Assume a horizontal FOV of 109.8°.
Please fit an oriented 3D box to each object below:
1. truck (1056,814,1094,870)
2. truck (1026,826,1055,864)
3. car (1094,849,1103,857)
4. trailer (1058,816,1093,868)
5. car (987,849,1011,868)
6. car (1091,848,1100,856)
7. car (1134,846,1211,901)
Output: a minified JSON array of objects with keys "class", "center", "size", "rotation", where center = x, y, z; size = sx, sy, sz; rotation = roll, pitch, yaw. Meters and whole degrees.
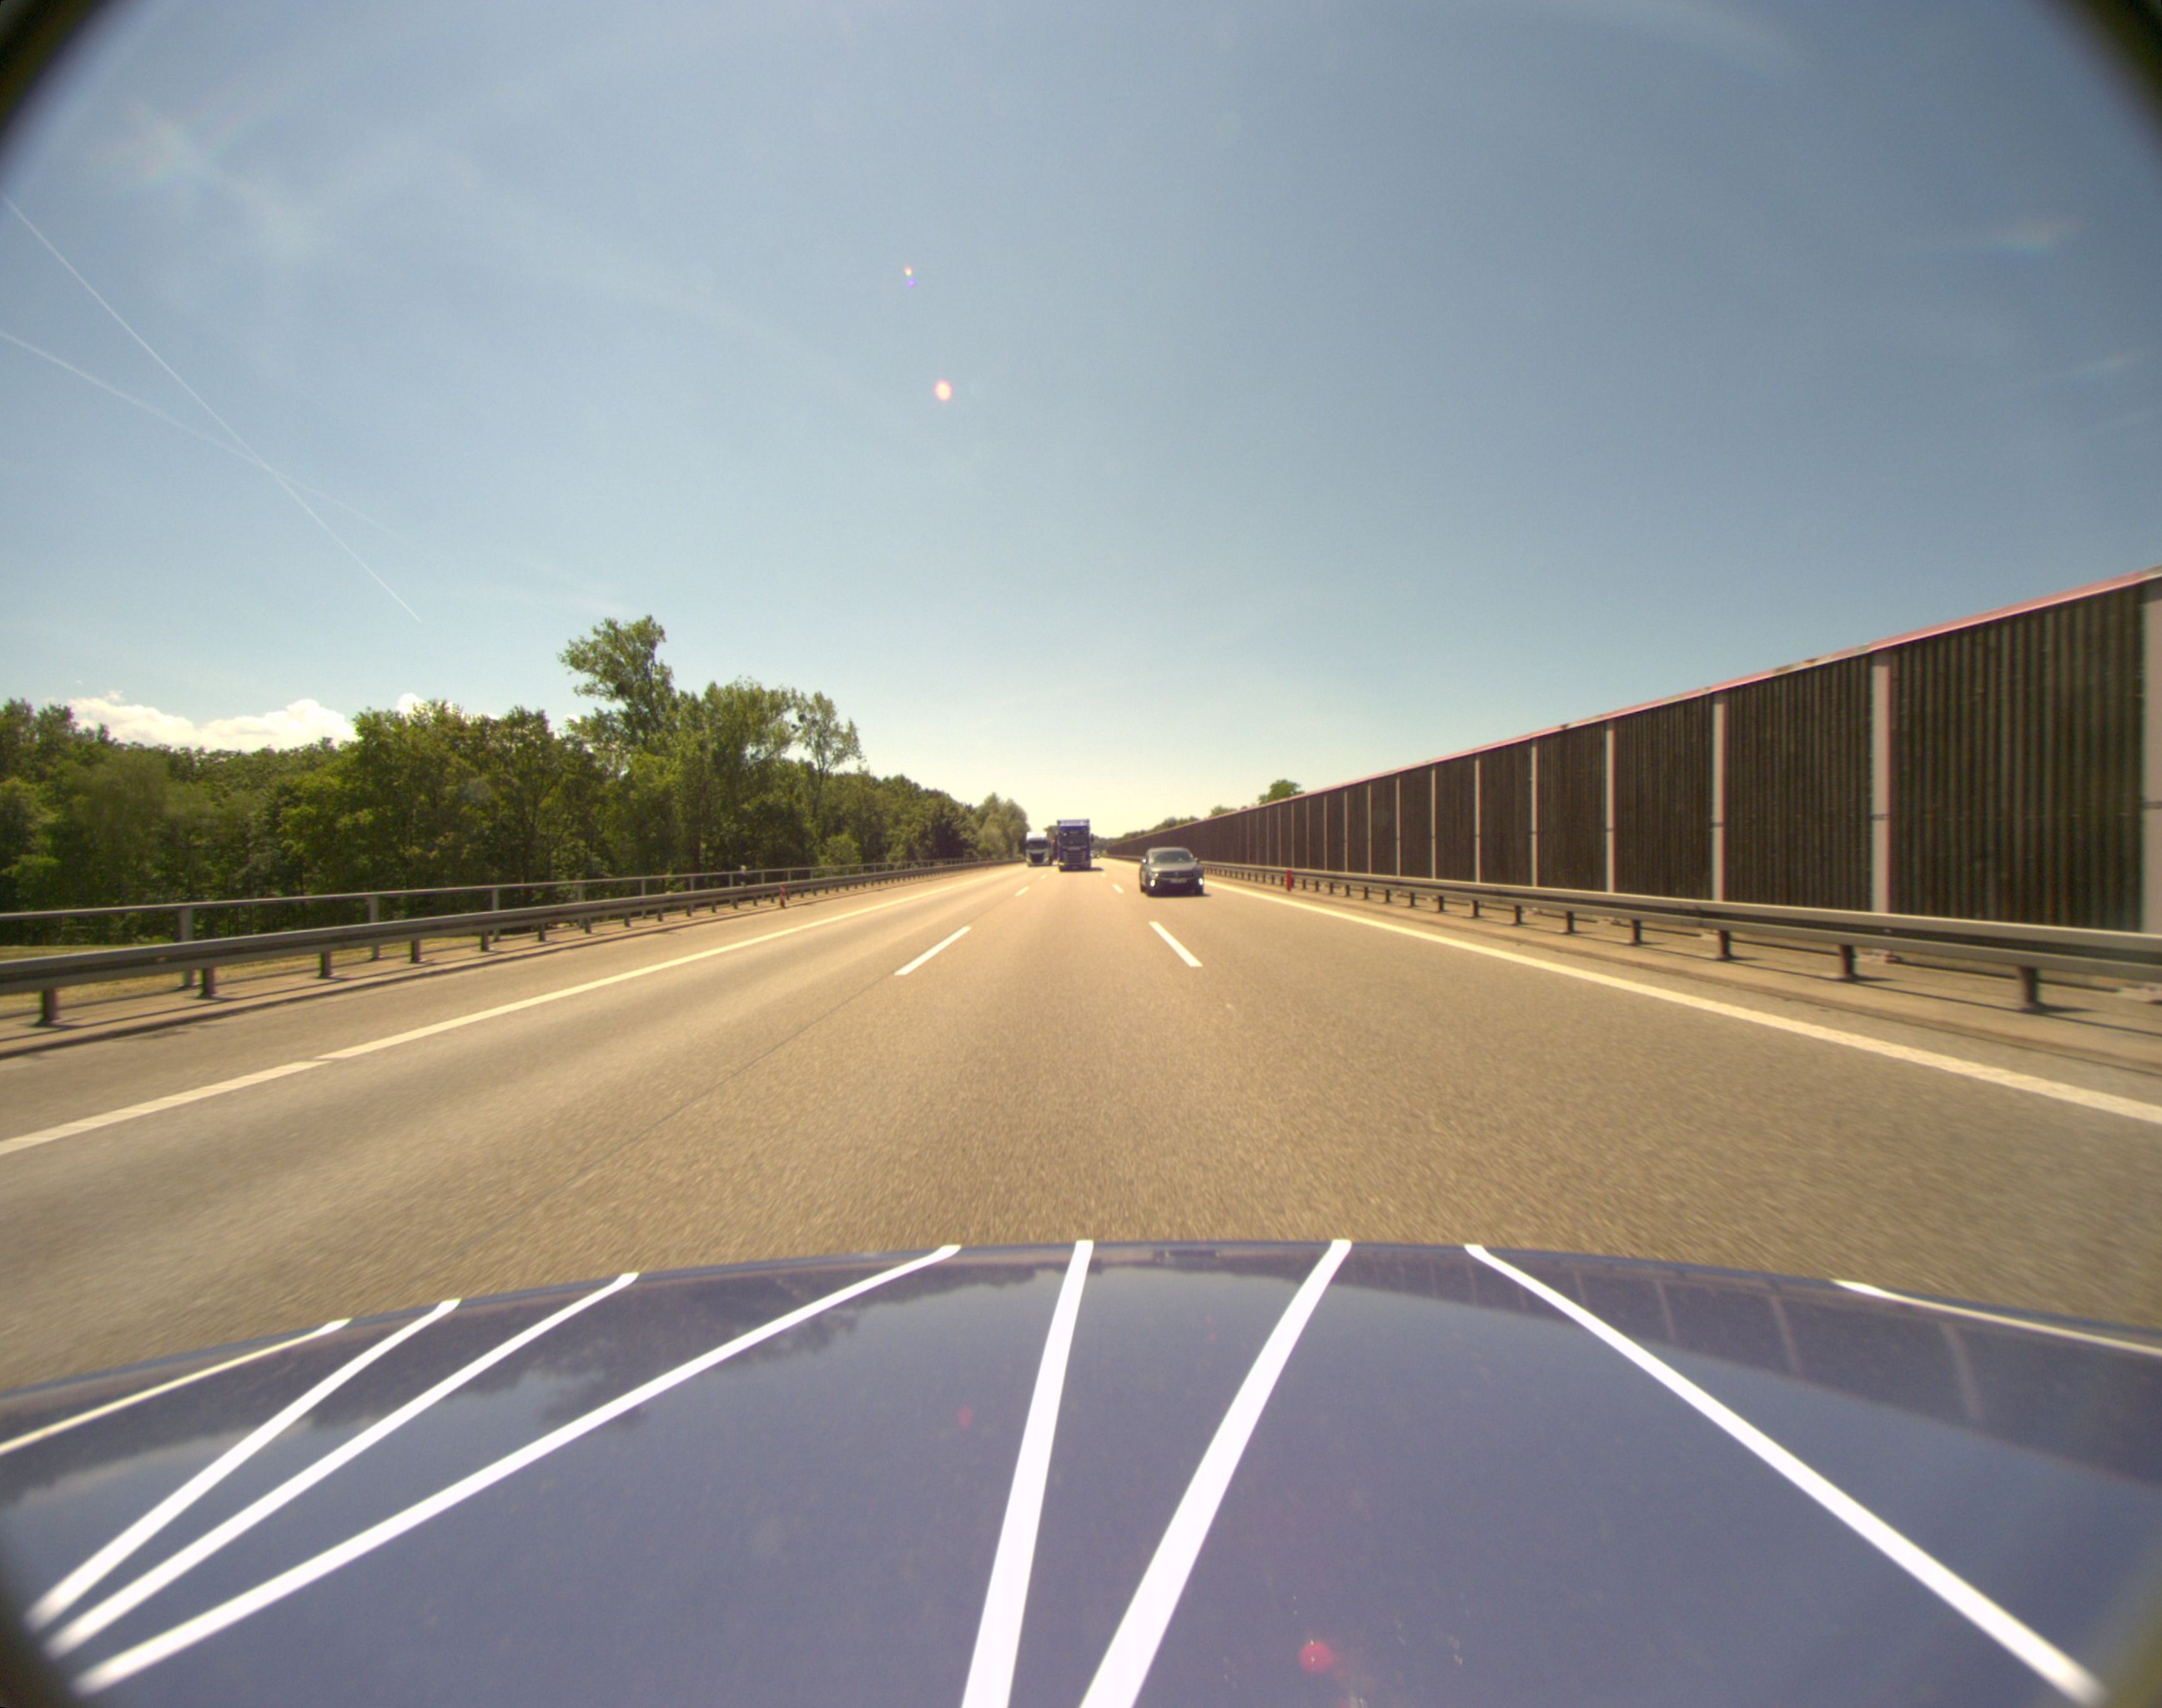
[{"class":"truck","center":[-0.440,-0.916,59.998],"size":[2.707,4.094,6.990],"rotation":[-2,0,0]},{"class":"truck","center":[-4.704,-1.048,90.727],"size":[2.820,4.139,10.447],"rotation":[-2,0,0]},{"class":"car","center":[3.954,-0.234,174.436],"size":[2.045,1.559,4.000],"rotation":[-2,0,0]},{"class":"trailer","center":[-0.447,-0.940,67.204],"size":[2.707,4.094,12.130],"rotation":[-2,0,0]},{"class":"car","center":[-8.238,0.448,76.684],"size":[1.936,1.805,3.999],"rotation":[-2,0,-1]},{"class":"car","center":[3.248,-0.439,169.567],"size":[1.998,1.717,4.000],"rotation":[-2,0,1]},{"class":"car","center":[2.962,0.612,25.713],"size":[1.885,1.630,5.008],"rotation":[-1,0,-1]}]
